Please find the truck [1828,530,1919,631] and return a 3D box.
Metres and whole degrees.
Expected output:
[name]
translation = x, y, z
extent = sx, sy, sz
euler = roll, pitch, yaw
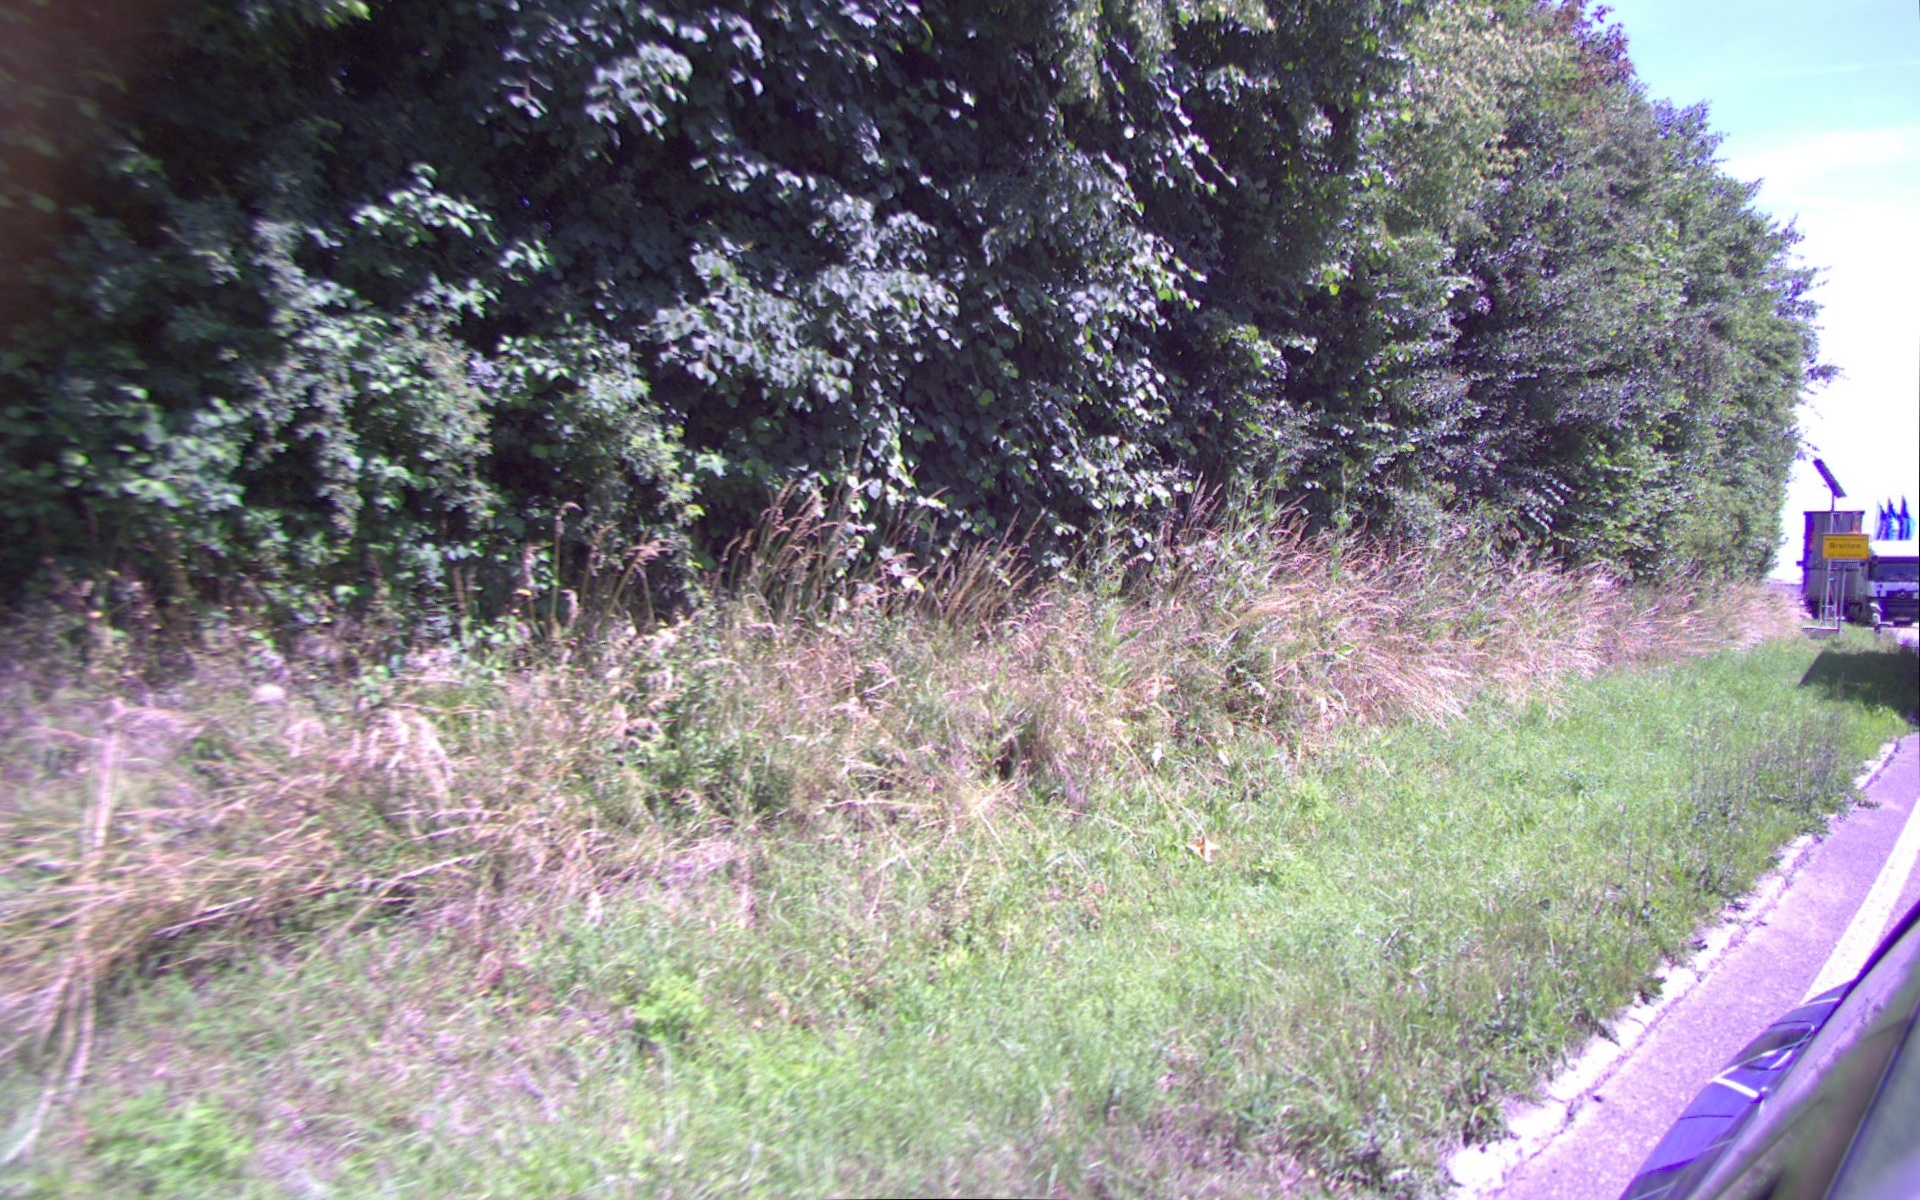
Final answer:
[truck]
translation = 47.529, -1.126, 52.074
extent = 2.964, 4.527, 16.244
euler = 0, 2, 36
